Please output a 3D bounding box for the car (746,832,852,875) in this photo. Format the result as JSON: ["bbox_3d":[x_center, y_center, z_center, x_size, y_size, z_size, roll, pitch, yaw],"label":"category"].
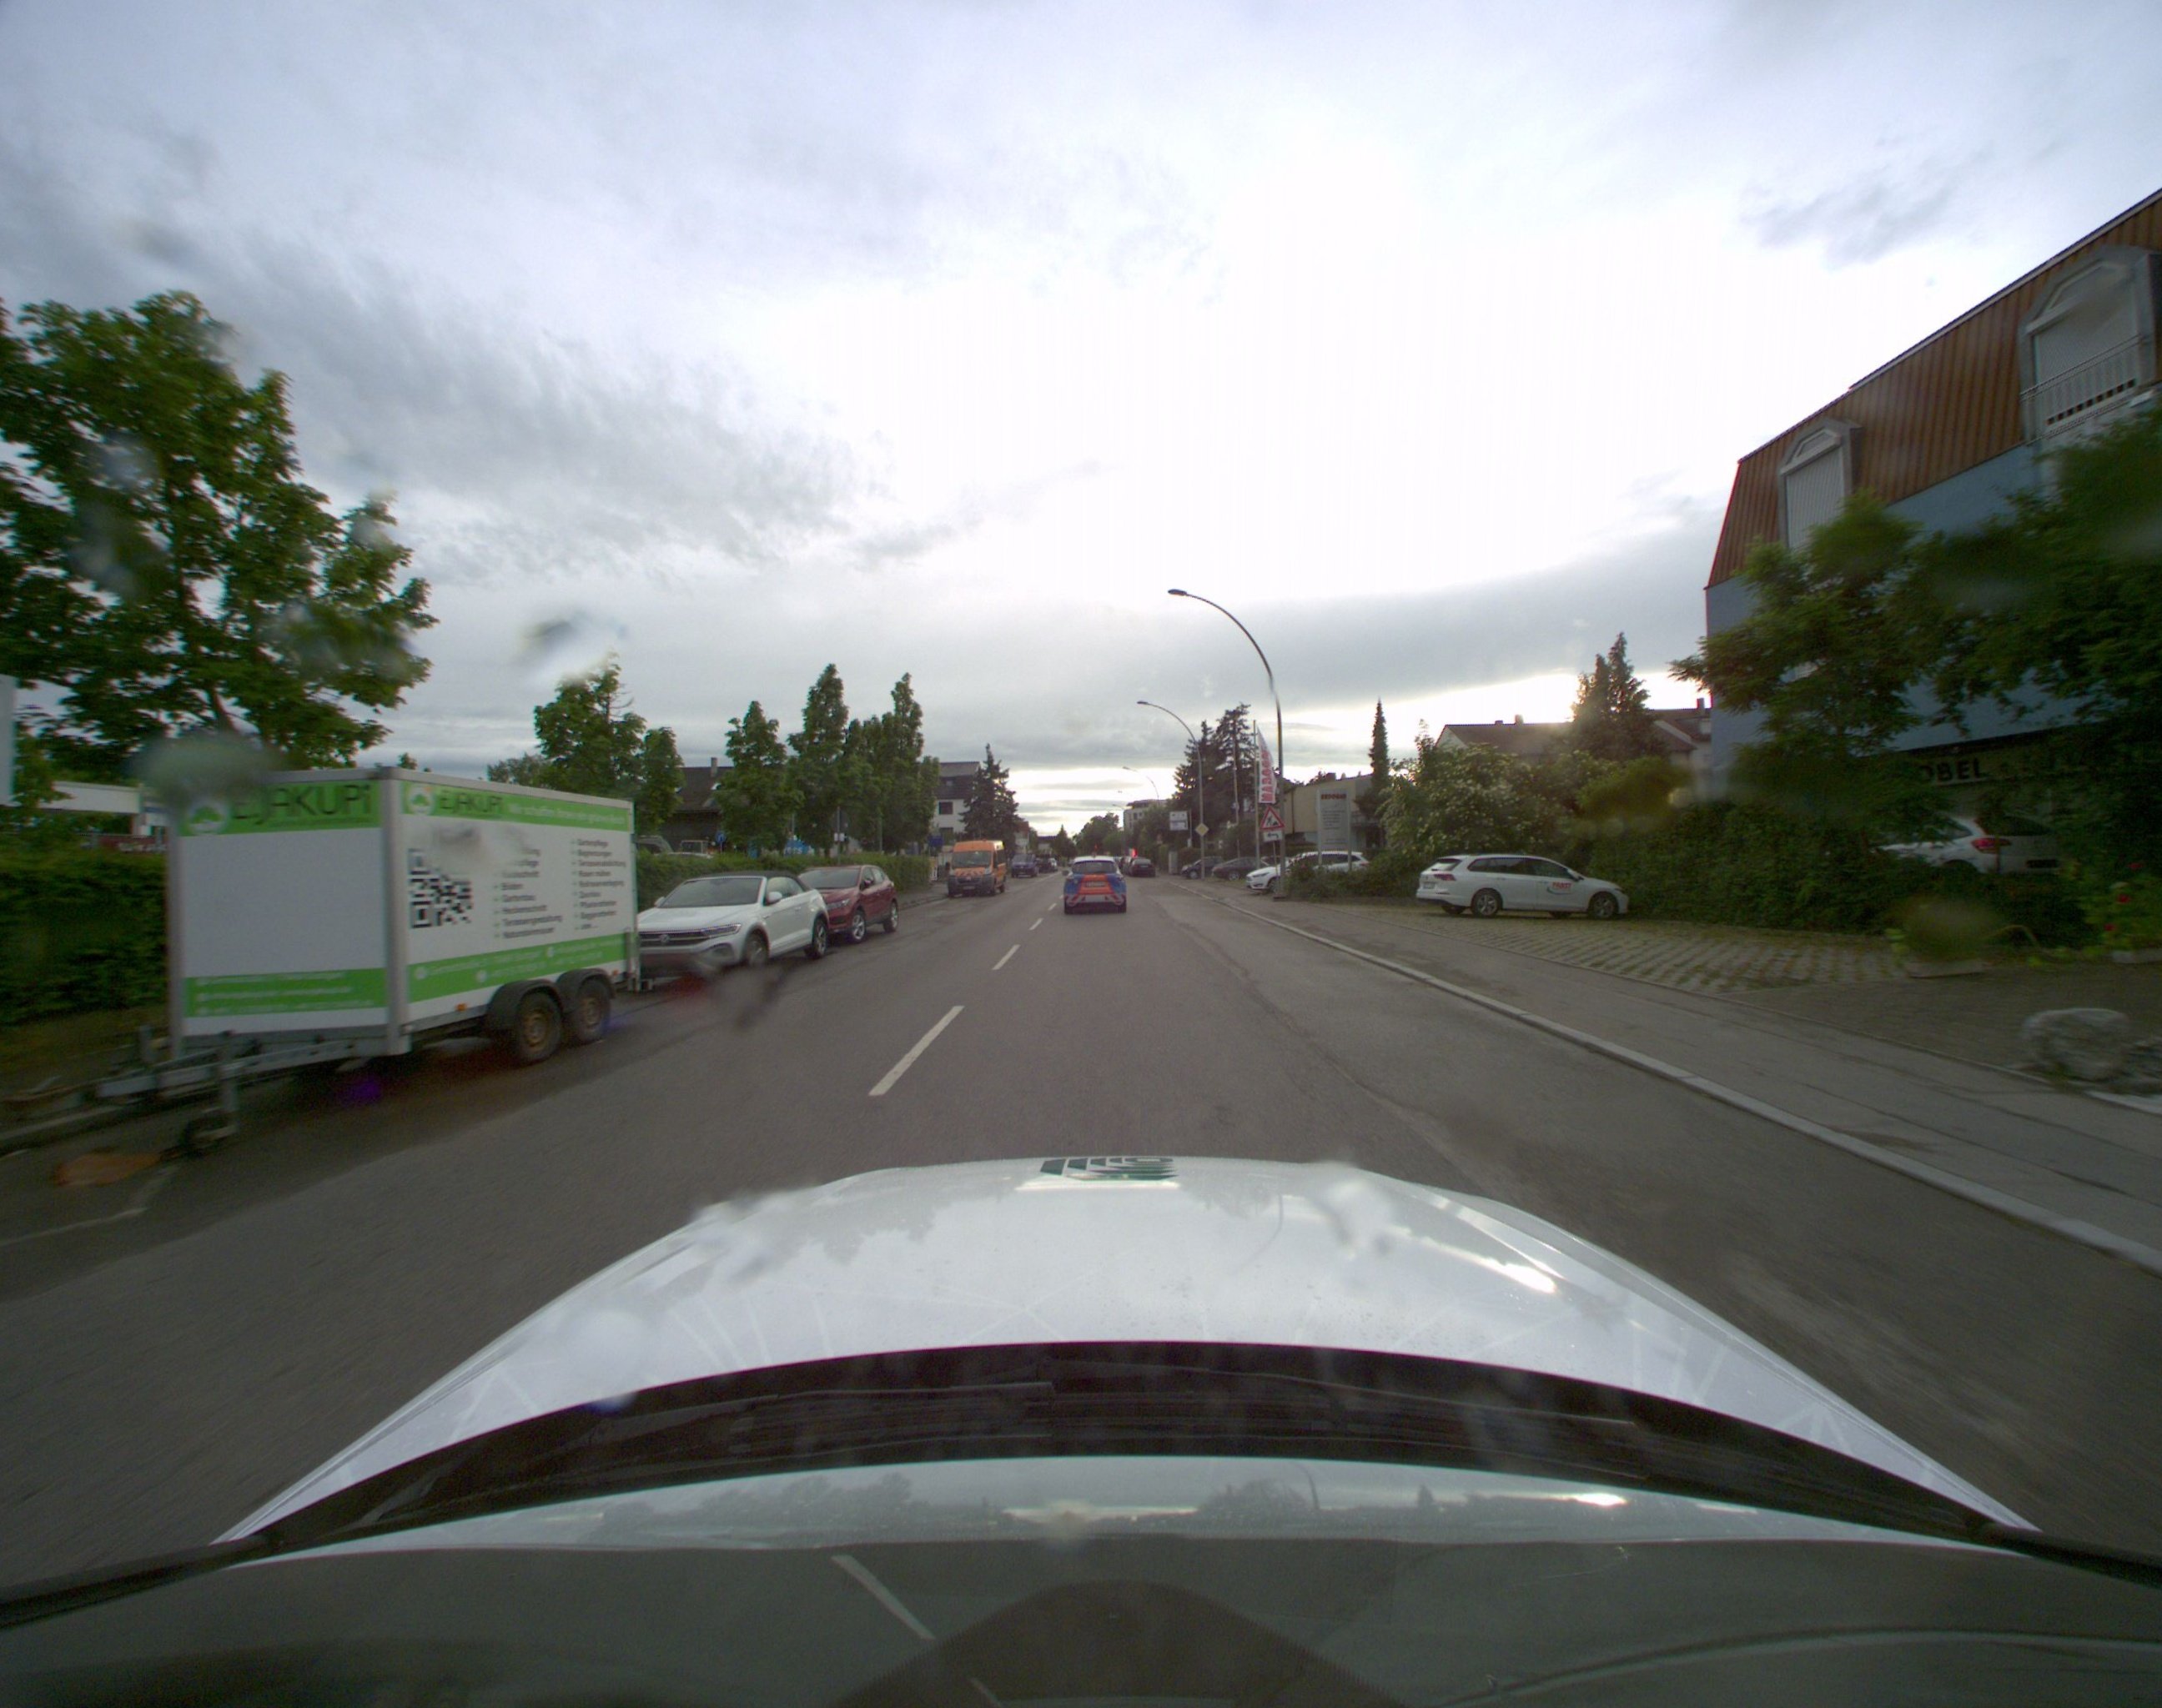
[{"bbox_3d":[-13.462,0.003,39.070,4.290,2.014,2.063,0,-1,1],"label":"car"}]

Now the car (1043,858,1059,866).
[{"bbox_3d":[-6.017,1.697,164.073,3.274,1.448,1.478,-2,0,-4],"label":"car"}]

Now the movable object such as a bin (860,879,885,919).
[{"bbox_3d":[-5.847,1.253,22.813,0.488,1.082,0.622,0,-1,5],"label":"movable object such as a bin"}]

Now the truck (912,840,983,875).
[{"bbox_3d":[-11.817,0.309,72.361,5.890,3.073,2.450,0,-1,1],"label":"truck"}]

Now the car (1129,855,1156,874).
[{"bbox_3d":[4.486,0.734,59.751,1.584,1.341,4.091,1,0,0],"label":"car"}]

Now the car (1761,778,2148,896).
[{"bbox_3d":[14.760,-0.222,14.253,1.988,1.740,4.427,0,-1,-1],"label":"car"}]

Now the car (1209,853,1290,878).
[{"bbox_3d":[8.806,0.608,42.847,3.971,1.266,1.952,0,-1,2],"label":"car"}]

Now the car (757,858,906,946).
[{"bbox_3d":[-5.207,0.923,17.627,1.799,1.573,4.342,-2,0,1],"label":"car"}]

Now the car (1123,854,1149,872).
[{"bbox_3d":[4.365,0.717,64.762,1.652,1.419,4.774,0,-1,-1],"label":"car"}]

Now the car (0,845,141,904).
[{"bbox_3d":[-29.822,0.567,23.058,3.982,1.606,1.768,0,-1,-7],"label":"car"}]

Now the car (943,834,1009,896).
[{"bbox_3d":[-4.764,0.459,37.855,2.117,2.537,6.022,-3,0,1],"label":"car"}]

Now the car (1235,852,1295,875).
[{"bbox_3d":[12.328,0.646,54.699,3.603,1.538,1.859,0,-1,-1],"label":"car"}]

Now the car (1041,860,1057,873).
[{"bbox_3d":[-3.694,1.467,94.317,1.552,1.433,4.001,0,-1,1],"label":"car"}]

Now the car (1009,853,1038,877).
[{"bbox_3d":[-4.796,0.934,69.125,1.987,1.947,5.365,-1,-1,1],"label":"car"}]

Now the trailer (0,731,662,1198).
[{"bbox_3d":[-5.556,0.590,6.493,1.807,2.314,4.730,-3,0,0],"label":"trailer"}]

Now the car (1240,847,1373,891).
[{"bbox_3d":[8.119,0.538,29.607,4.324,1.475,1.902,0,-1,0],"label":"car"}]

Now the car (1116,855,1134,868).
[{"bbox_3d":[4.962,0.882,91.994,1.706,1.438,4.524,0,-1,-1],"label":"car"}]

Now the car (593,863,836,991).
[{"bbox_3d":[-5.283,0.951,12.421,1.766,1.498,4.137,-1,0,0],"label":"car"}]

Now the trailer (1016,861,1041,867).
[{"bbox_3d":[-8.695,1.659,134.765,4.010,0.995,1.655,0,-1,-1],"label":"trailer"}]

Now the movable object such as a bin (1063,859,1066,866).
[{"bbox_3d":[-3.291,1.659,158.079,0.577,1.204,0.319,0,-1,1],"label":"movable object such as a bin"}]

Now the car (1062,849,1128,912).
[{"bbox_3d":[0.382,0.713,23.360,1.726,1.631,3.494,-1,-1,0],"label":"car"}]

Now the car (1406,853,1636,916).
[{"bbox_3d":[10.161,0.690,19.054,4.401,1.393,1.880,0,-1,0],"label":"car"}]

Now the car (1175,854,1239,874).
[{"bbox_3d":[8.397,0.671,54.530,3.975,1.266,1.950,0,-1,-1],"label":"car"}]

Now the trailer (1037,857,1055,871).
[{"bbox_3d":[-3.685,1.046,87.033,1.712,1.260,5.243,0,1,-1],"label":"trailer"}]

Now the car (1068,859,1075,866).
[{"bbox_3d":[-1.987,1.741,173.062,1.382,1.483,3.782,-1,0,-1],"label":"car"}]
